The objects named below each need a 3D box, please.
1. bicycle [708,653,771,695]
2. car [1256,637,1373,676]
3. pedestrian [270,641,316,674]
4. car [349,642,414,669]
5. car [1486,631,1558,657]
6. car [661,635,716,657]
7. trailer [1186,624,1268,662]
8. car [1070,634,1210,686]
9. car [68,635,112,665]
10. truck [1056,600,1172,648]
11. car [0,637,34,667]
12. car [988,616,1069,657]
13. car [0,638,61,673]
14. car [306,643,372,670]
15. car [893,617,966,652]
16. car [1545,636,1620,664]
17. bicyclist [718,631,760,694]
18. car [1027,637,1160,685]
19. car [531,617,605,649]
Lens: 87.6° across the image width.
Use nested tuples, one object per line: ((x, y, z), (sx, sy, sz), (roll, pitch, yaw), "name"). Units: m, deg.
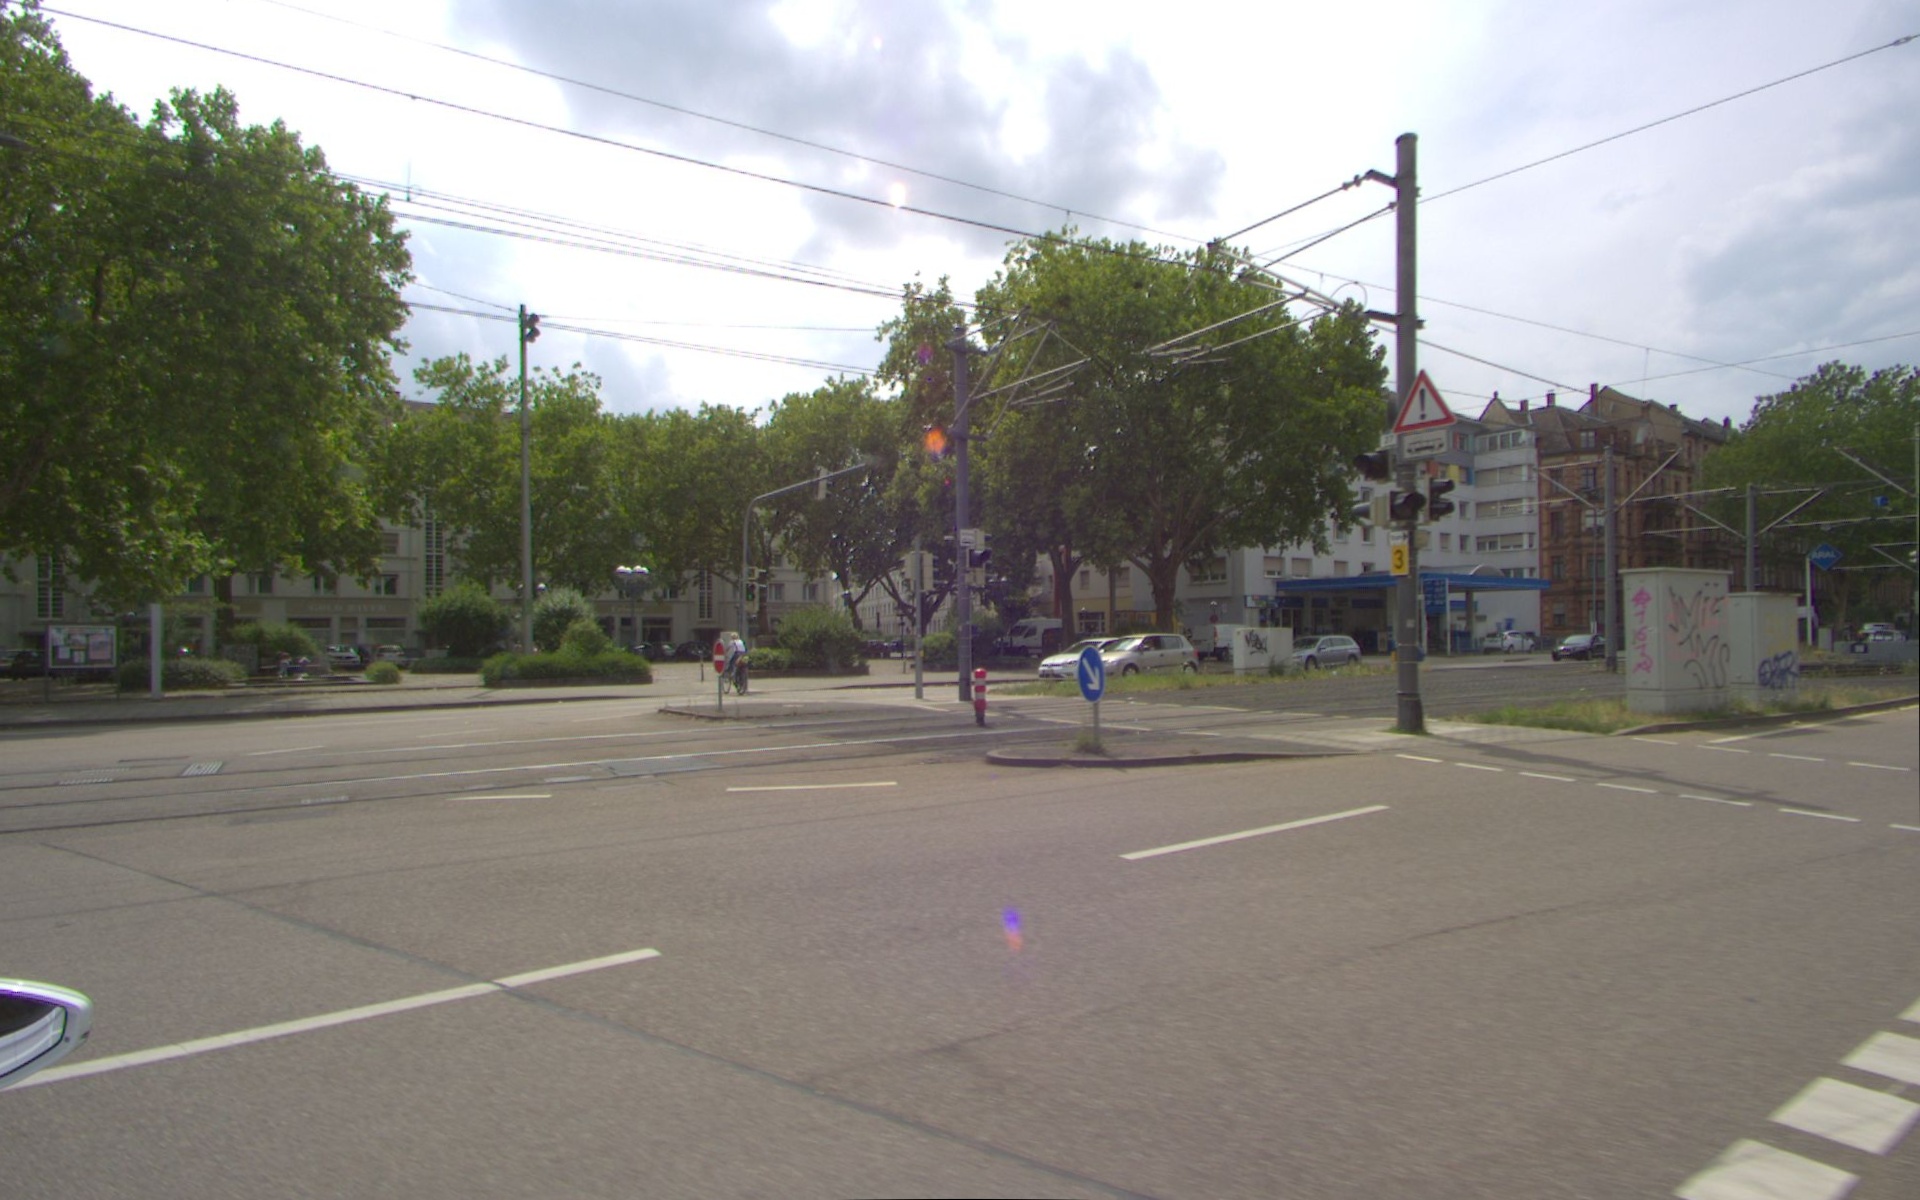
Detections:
((-6.121, 2.033, 27.754), (0.896, 1.088, 1.953), (1, -2, -40), "bicycle")
((13.941, 2.199, 39.305), (4.734, 1.417, 1.751), (1, -3, -32), "car")
((-27.120, 2.331, 40.739), (1.422, 1.252, 1.088), (-2, 0, 35), "pedestrian")
((-35.143, 3.336, 60.833), (3.947, 1.538, 1.988), (-2, -2, 35), "car")
((34.719, 2.691, 61.860), (4.557, 1.534, 1.985), (1, -3, -33), "car")
((-19.549, 3.323, 72.111), (3.947, 1.523, 1.762), (-2, -2, 35), "car")
((14.172, 2.242, 53.108), (4.380, 1.950, 1.842), (1, -2, -35), "trailer")
((5.298, 1.734, 29.322), (3.945, 1.417, 1.617), (1, -3, -32), "car")
((-52.477, 2.994, 60.455), (1.789, 1.705, 3.970), (1, -2, -38), "car")
((8.902, 1.439, 58.573), (3.042, 2.610, 6.466), (1, -2, -36), "truck")
((-55.488, 3.016, 58.419), (1.789, 1.705, 3.970), (1, -2, -38), "car")
((4.648, 2.451, 67.460), (5.273, 2.617, 2.164), (1, -3, -38), "car")
((-47.889, 2.814, 51.401), (3.947, 1.705, 1.800), (-2, -2, 35), "car")
((-36.695, 3.293, 59.145), (3.947, 1.522, 1.988), (-2, -2, 35), "car")
((-2.354, 2.691, 77.779), (5.273, 2.617, 2.481), (1, -3, -38), "car")
((32.624, 2.617, 52.491), (3.945, 1.417, 1.751), (1, -3, -32), "car")
((-6.119, 1.703, 27.733), (0.897, 1.705, 0.750), (1, -1, -41), "bicyclist")
((4.314, 1.944, 32.170), (4.023, 1.432, 1.751), (1, -3, -32), "car")
((-24.196, 2.034, 61.787), (3.950, 1.907, 1.845), (1, -2, -36), "car")
